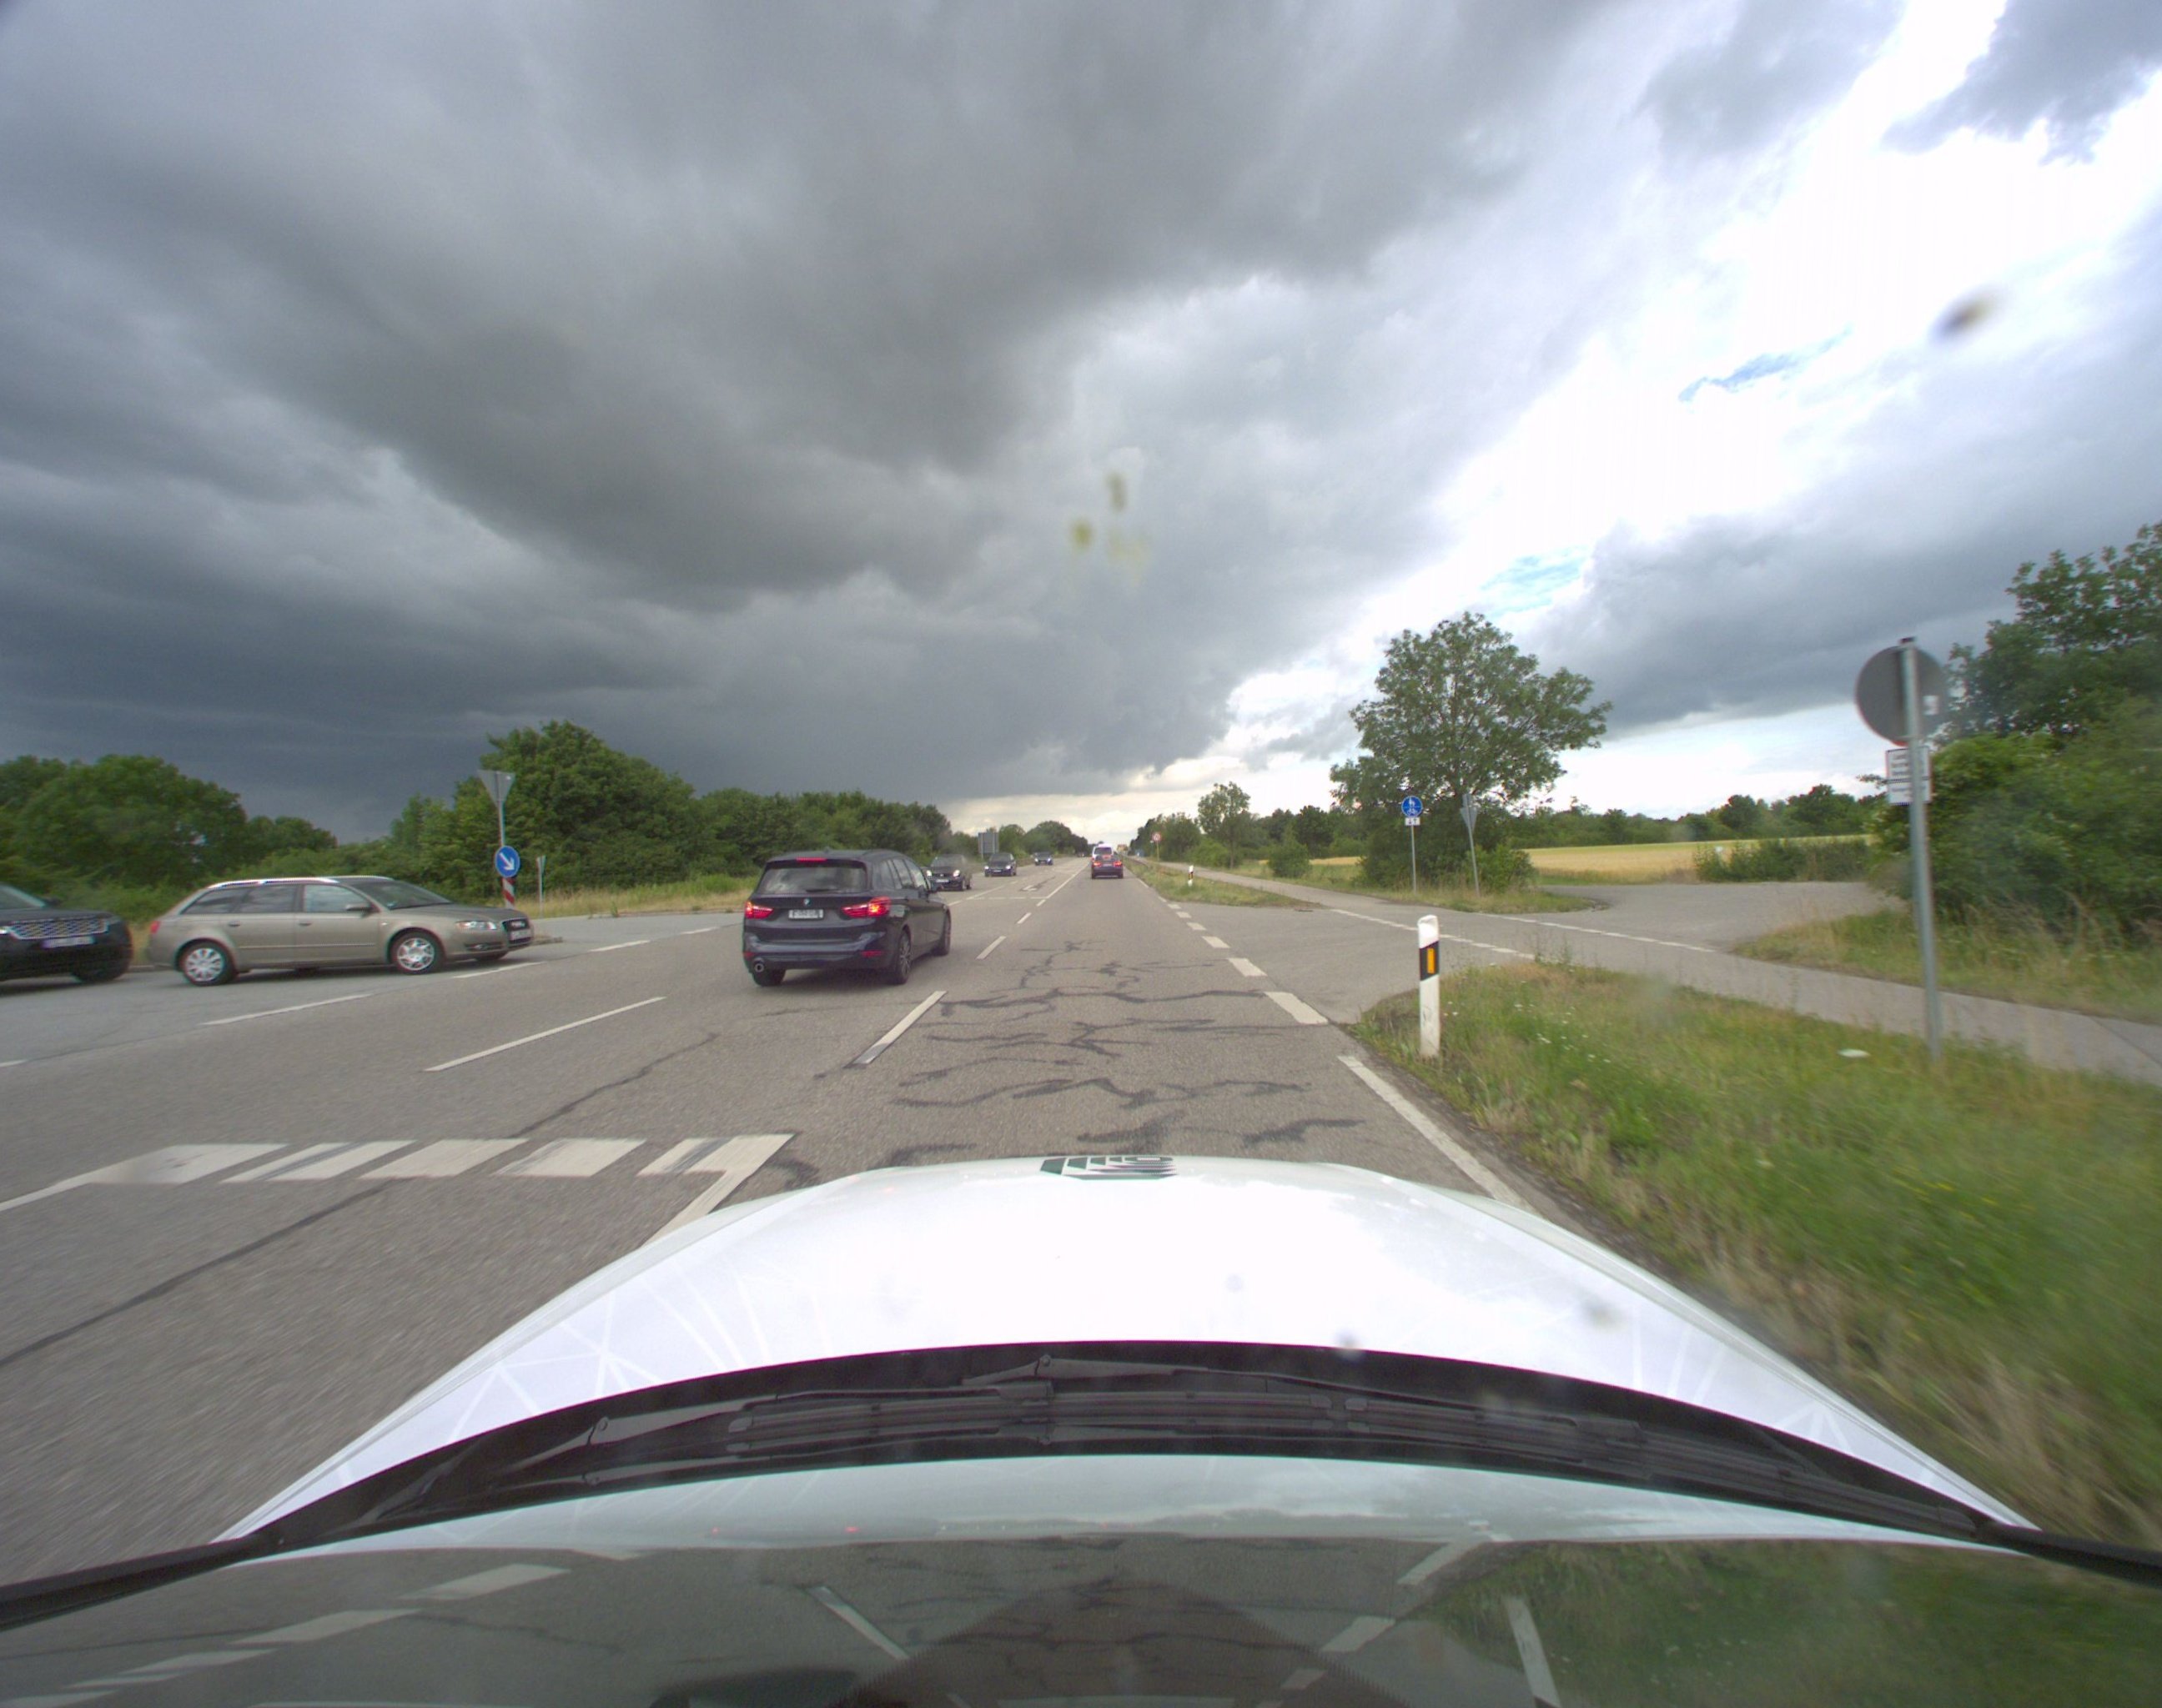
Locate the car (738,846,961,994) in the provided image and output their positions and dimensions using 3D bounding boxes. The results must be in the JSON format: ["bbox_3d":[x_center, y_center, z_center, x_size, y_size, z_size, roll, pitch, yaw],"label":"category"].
[{"bbox_3d":[-2.873,0.733,11.186,1.696,1.611,4.483,0,0,1],"label":"car"}]

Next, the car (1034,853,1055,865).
[{"bbox_3d":[-4.198,0.555,94.060,2.156,1.285,4.239,0,0,1],"label":"car"}]

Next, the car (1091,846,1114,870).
[{"bbox_3d":[1.703,0.323,65.655,1.779,1.890,4.001,-1,0,2],"label":"car"}]

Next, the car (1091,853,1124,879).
[{"bbox_3d":[1.531,0.677,47.215,1.779,1.424,4.001,-1,0,2],"label":"car"}]

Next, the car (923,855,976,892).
[{"bbox_3d":[-5.591,0.810,34.883,1.655,1.484,3.169,-1,0,1],"label":"car"}]

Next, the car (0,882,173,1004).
[{"bbox_3d":[-16.390,1.287,11.814,4.713,1.532,1.915,-2,0,8],"label":"car"}]

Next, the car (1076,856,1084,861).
[{"bbox_3d":[-0.168,1.253,225.883,1.854,1.376,4.004,1,-1,4],"label":"car"}]

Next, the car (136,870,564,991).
[{"bbox_3d":[-10.678,1.063,12.250,4.445,1.424,1.907,-2,0,-7],"label":"car"}]

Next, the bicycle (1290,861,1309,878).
[{"bbox_3d":[15.281,1.054,56.963,0.653,1.138,2.831,-1,-1,1],"label":"bicycle"}]

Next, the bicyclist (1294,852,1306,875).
[{"bbox_3d":[15.279,0.636,56.905,0.653,1.581,0.744,-1,-1,1],"label":"bicyclist"}]

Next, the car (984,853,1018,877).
[{"bbox_3d":[-5.304,0.692,54.550,1.736,1.530,4.199,-1,0,1],"label":"car"}]

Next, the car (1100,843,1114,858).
[{"bbox_3d":[4.516,-0.533,139.955,2.438,2.504,5.044,-1,0,2],"label":"car"}]
